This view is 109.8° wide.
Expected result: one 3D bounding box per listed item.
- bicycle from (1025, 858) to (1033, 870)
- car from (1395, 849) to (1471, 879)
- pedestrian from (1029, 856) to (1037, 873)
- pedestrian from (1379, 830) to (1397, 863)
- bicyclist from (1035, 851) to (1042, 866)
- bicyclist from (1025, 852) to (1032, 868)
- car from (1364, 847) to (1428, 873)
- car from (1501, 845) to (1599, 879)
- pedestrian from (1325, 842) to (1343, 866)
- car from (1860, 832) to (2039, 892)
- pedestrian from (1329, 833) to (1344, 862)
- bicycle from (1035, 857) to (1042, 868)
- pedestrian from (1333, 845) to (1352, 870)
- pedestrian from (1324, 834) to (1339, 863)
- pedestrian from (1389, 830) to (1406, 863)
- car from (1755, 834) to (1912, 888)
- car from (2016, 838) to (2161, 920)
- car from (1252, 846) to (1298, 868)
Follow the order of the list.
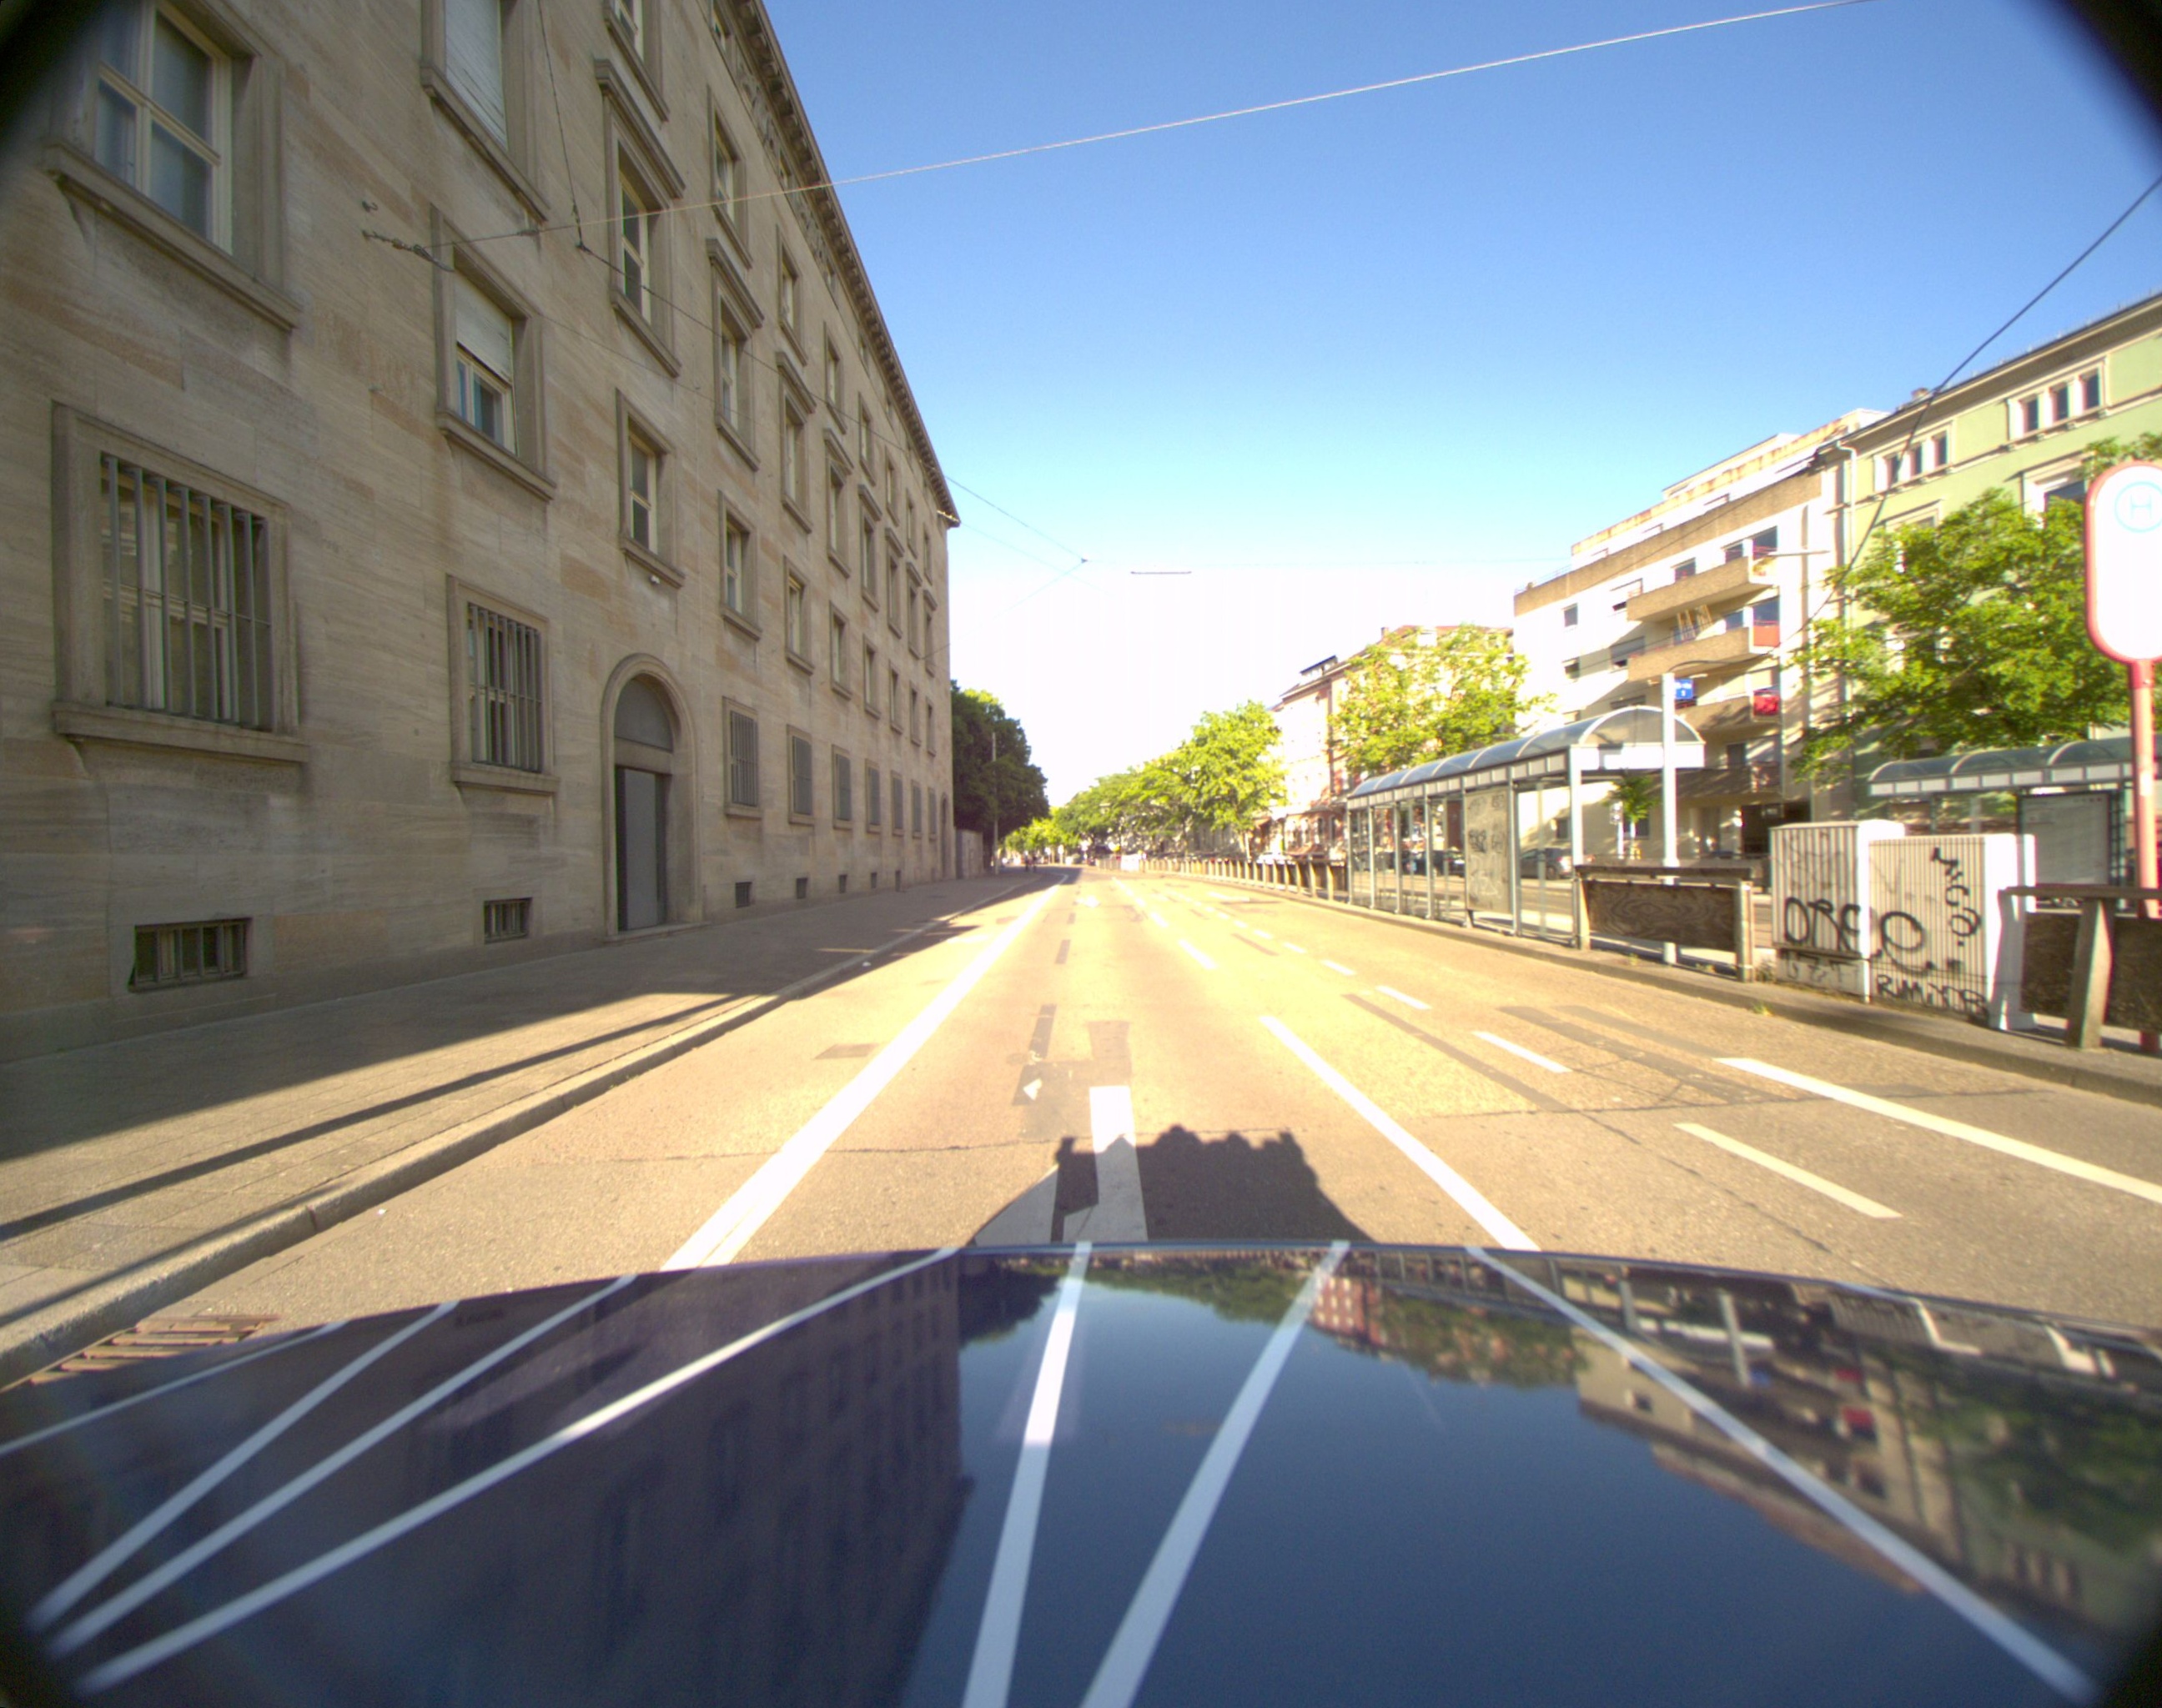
[{"bbox_3d":[-5.717,1.112,83.461,0.625,1.214,1.659,-3,1,1],"label":"bicycle"},{"bbox_3d":[17.209,0.474,37.370,1.670,1.400,3.877,0,0,-5],"label":"car"},{"bbox_3d":[-3.713,0.791,58.867,0.548,1.327,0.587,-1,1,7],"label":"pedestrian"},{"bbox_3d":[21.190,-0.520,52.433,0.813,2.194,0.756,-1,1,-10],"label":"pedestrian"},{"bbox_3d":[-4.671,0.496,83.339,0.728,1.570,0.775,0,1,1],"label":"bicyclist"},{"bbox_3d":[-5.737,0.656,83.504,0.625,1.729,0.688,-3,1,1],"label":"bicyclist"},{"bbox_3d":[18.454,0.331,44.664,1.609,1.388,3.997,-1,0,-9],"label":"car"},{"bbox_3d":[20.882,0.321,33.999,1.654,1.419,3.737,-1,0,-11],"label":"car"},{"bbox_3d":[18.457,-0.002,55.390,0.855,1.710,1.019,-1,1,-8],"label":"pedestrian"},{"bbox_3d":[24.810,0.194,21.733,4.002,1.573,1.761,-1,0,-14],"label":"car"},{"bbox_3d":[19.440,-0.513,57.818,0.813,2.194,0.756,-1,1,-10],"label":"pedestrian"},{"bbox_3d":[-4.671,0.968,83.265,0.625,1.167,1.566,0,0,1],"label":"bicycle"},{"bbox_3d":[17.309,0.256,50.316,0.870,1.619,0.889,-2,1,-42],"label":"pedestrian"},{"bbox_3d":[19.516,-0.410,59.232,0.812,2.194,0.756,-1,1,-4],"label":"pedestrian"},{"bbox_3d":[21.438,-0.503,51.469,0.813,2.194,0.756,-1,1,-10],"label":"pedestrian"},{"bbox_3d":[24.011,0.197,24.274,4.002,1.573,1.761,-1,0,-14],"label":"car"},{"bbox_3d":[20.517,0.443,13.933,1.647,1.480,3.998,-1,0,-6],"label":"car"},{"bbox_3d":[16.281,0.243,63.607,4.134,1.698,1.848,-1,1,-45],"label":"car"}]
